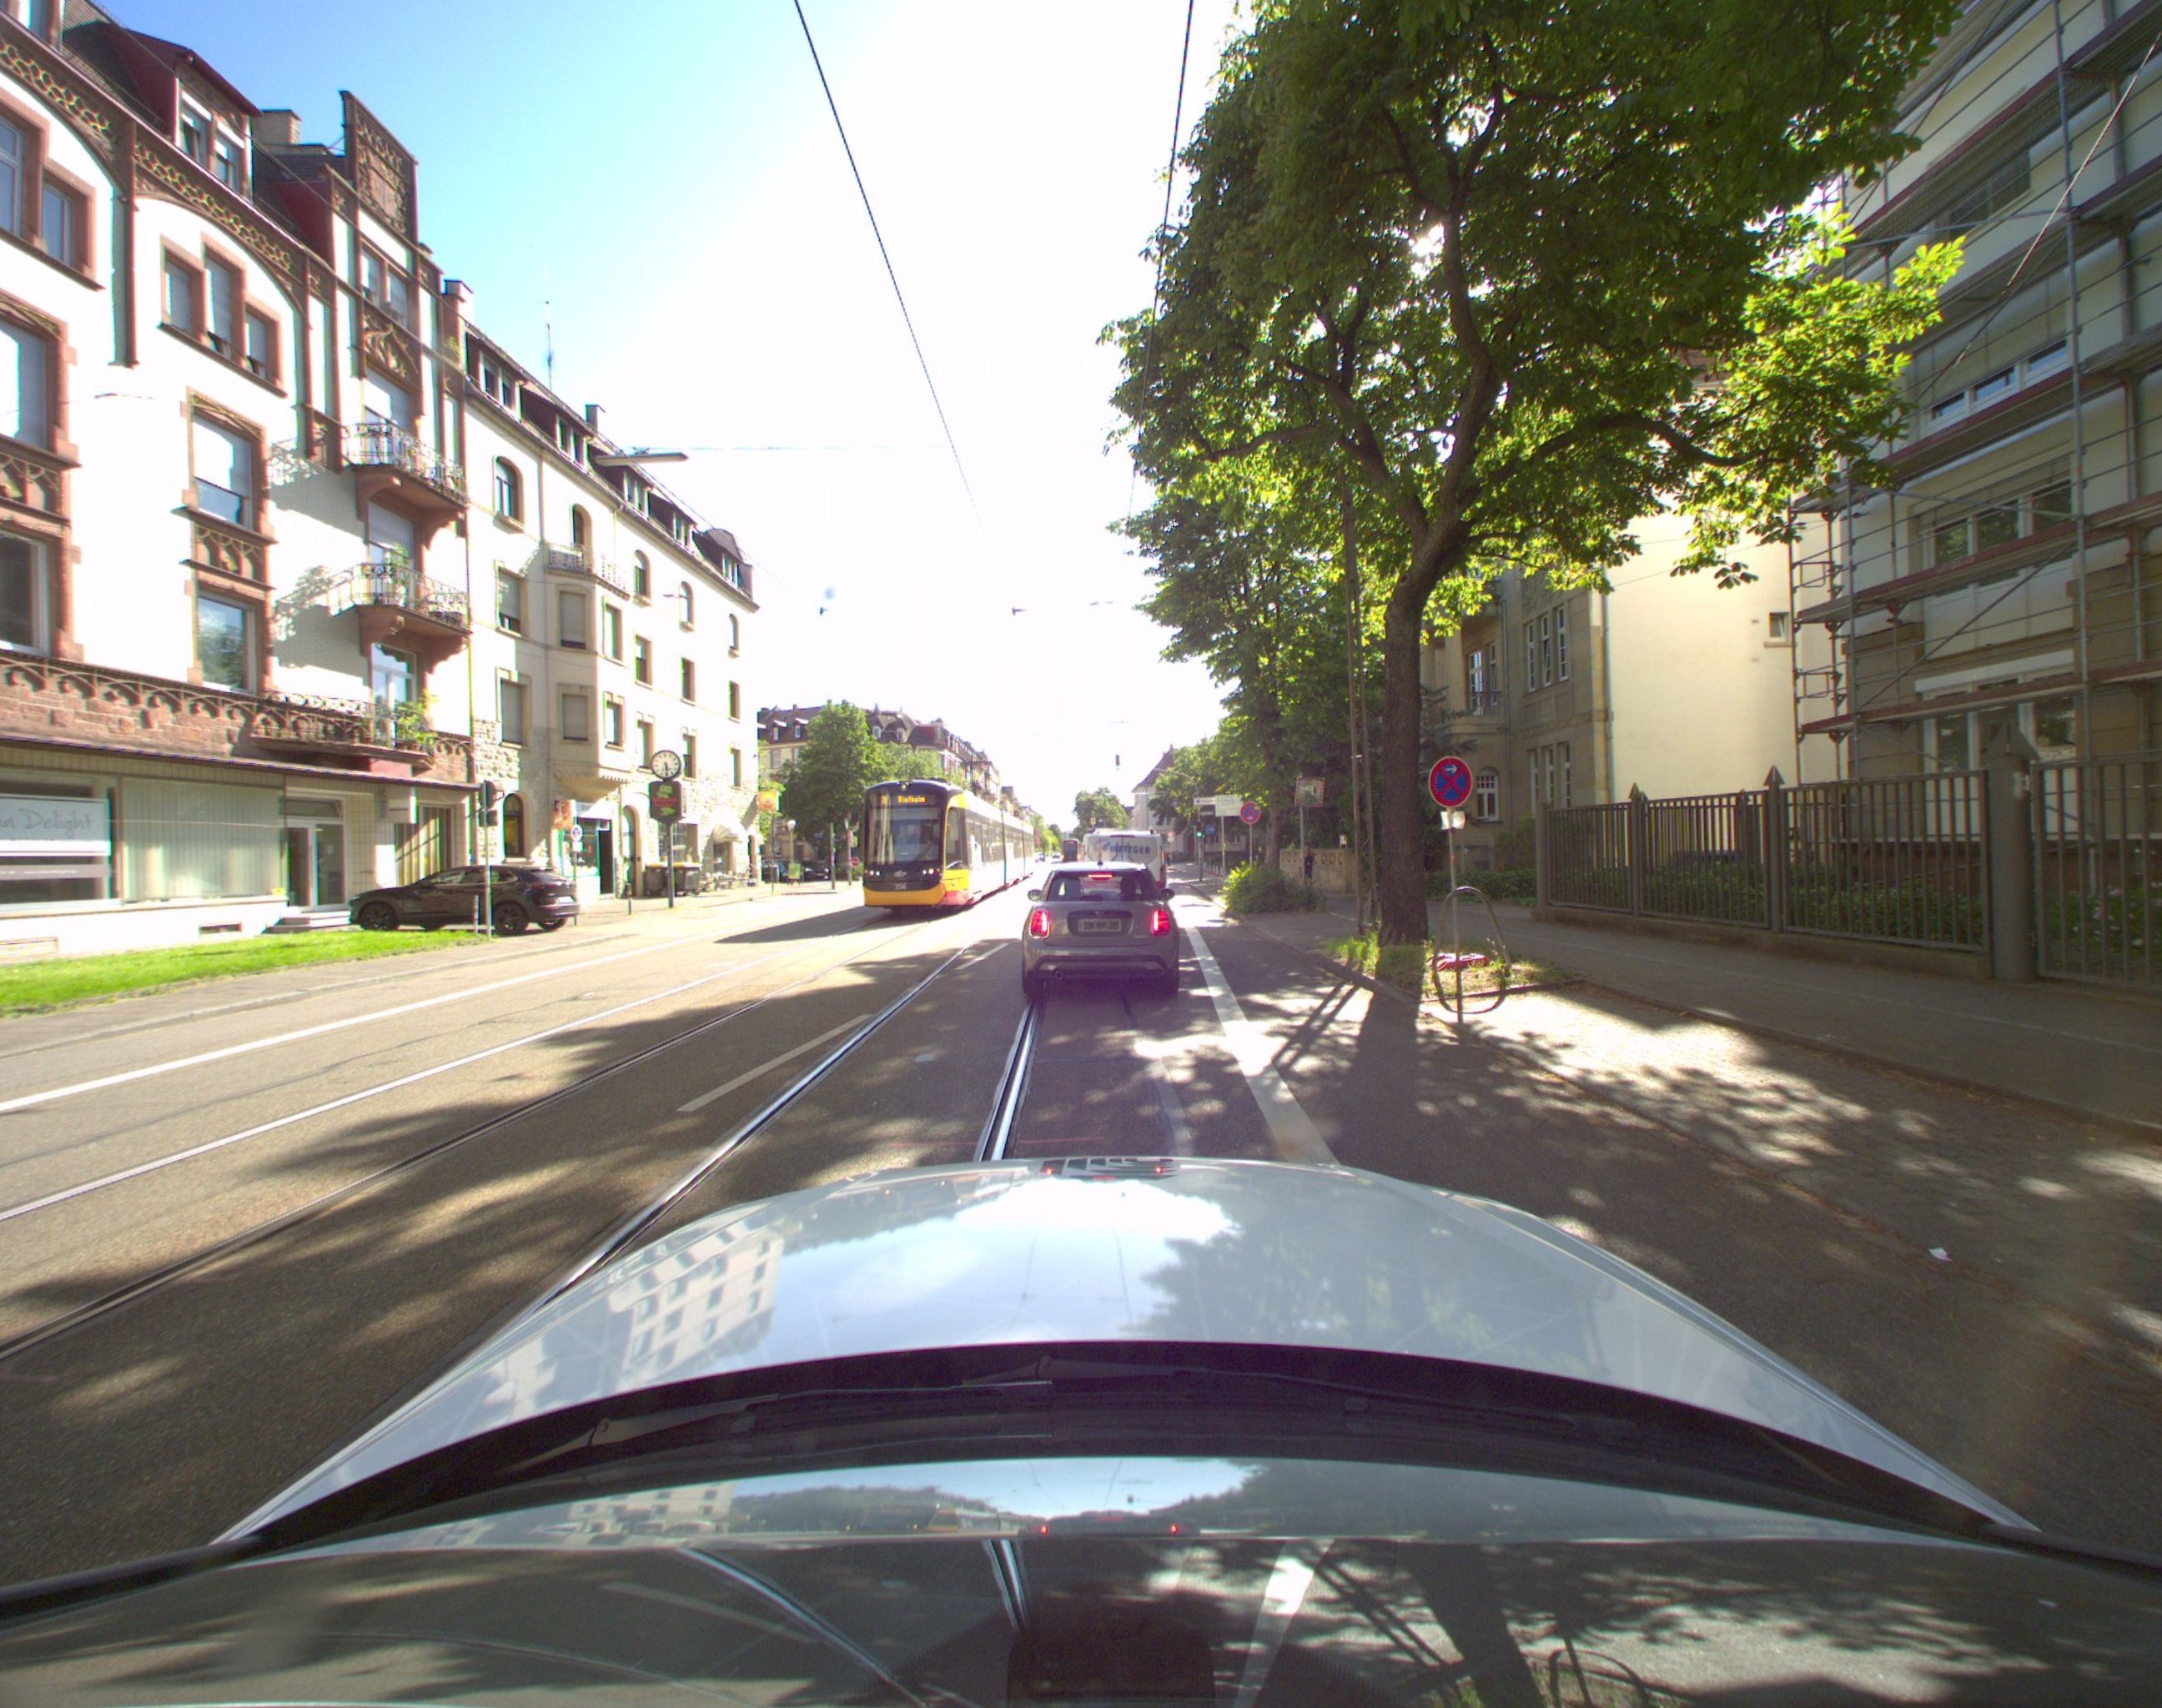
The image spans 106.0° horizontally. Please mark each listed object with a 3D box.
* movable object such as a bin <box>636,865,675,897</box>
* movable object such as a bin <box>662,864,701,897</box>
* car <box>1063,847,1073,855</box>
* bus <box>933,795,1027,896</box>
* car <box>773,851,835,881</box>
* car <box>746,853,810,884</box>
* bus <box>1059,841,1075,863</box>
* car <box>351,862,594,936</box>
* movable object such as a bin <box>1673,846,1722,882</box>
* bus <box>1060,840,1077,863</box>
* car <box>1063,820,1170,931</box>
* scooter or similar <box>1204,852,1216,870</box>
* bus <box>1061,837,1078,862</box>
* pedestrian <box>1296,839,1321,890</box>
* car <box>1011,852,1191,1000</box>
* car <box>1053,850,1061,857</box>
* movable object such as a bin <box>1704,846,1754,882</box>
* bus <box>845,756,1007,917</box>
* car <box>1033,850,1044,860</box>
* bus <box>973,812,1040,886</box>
[{"bbox_3d":[-16.976,1.067,32.495,0.829,1.223,1.245,0,-1,4],"label":"movable object such as a bin"},{"bbox_3d":[-16.050,1.046,32.764,0.941,1.273,1.145,0,-1,5],"label":"movable object such as a bin"},{"bbox_3d":[-2.400,-0.534,152.016,1.859,1.563,3.997,0,-1,-2],"label":"car"},{"bbox_3d":[-4.188,-0.285,36.238,2.851,3.777,11.179,0,0,-1],"label":"bus"},{"bbox_3d":[-19.493,0.824,57.247,3.949,2.014,2.012,-1,-1,30],"label":"car"},{"bbox_3d":[-20.552,0.989,55.193,3.949,2.014,2.012,-1,-1,30],"label":"car"},{"bbox_3d":[-2.276,-0.364,133.569,2.379,3.496,7.377,0,-1,-2],"label":"bus"},{"bbox_3d":[-13.589,0.989,18.394,3.981,1.503,1.768,1,-1,-6],"label":"car"},{"bbox_3d":[16.676,0.274,22.036,0.831,0.955,0.648,0,-1,0],"label":"movable object such as a bin"},{"bbox_3d":[-1.987,-0.361,126.173,2.379,3.496,7.377,0,-1,-2],"label":"bus"},{"bbox_3d":[0.790,0.447,18.730,2.110,2.208,4.946,0,-1,2],"label":"car"},{"bbox_3d":[9.316,0.493,58.760,0.673,1.310,1.329,0,-1,1],"label":"scooter or similar"},{"bbox_3d":[-1.701,-0.566,118.773,2.379,3.496,7.377,0,-1,-2],"label":"bus"},{"bbox_3d":[7.635,0.365,27.397,0.590,1.671,0.647,-3,-1,1],"label":"pedestrian"},{"bbox_3d":[0.261,0.742,10.221,1.808,1.488,4.001,0,-1,2],"label":"car"},{"bbox_3d":[-5.576,-0.136,189.923,1.771,1.618,3.997,0,-1,-2],"label":"car"},{"bbox_3d":[17.541,0.267,22.047,0.831,0.955,0.648,0,-1,0],"label":"movable object such as a bin"},{"bbox_3d":[-4.170,-0.373,24.932,2.851,3.777,11.494,0,0,-1],"label":"bus"},{"bbox_3d":[-7.010,0.135,135.371,1.771,1.618,3.997,0,-1,-2],"label":"car"},{"bbox_3d":[-4.131,-0.218,47.810,2.841,3.777,12.193,0,0,0],"label":"bus"}]
